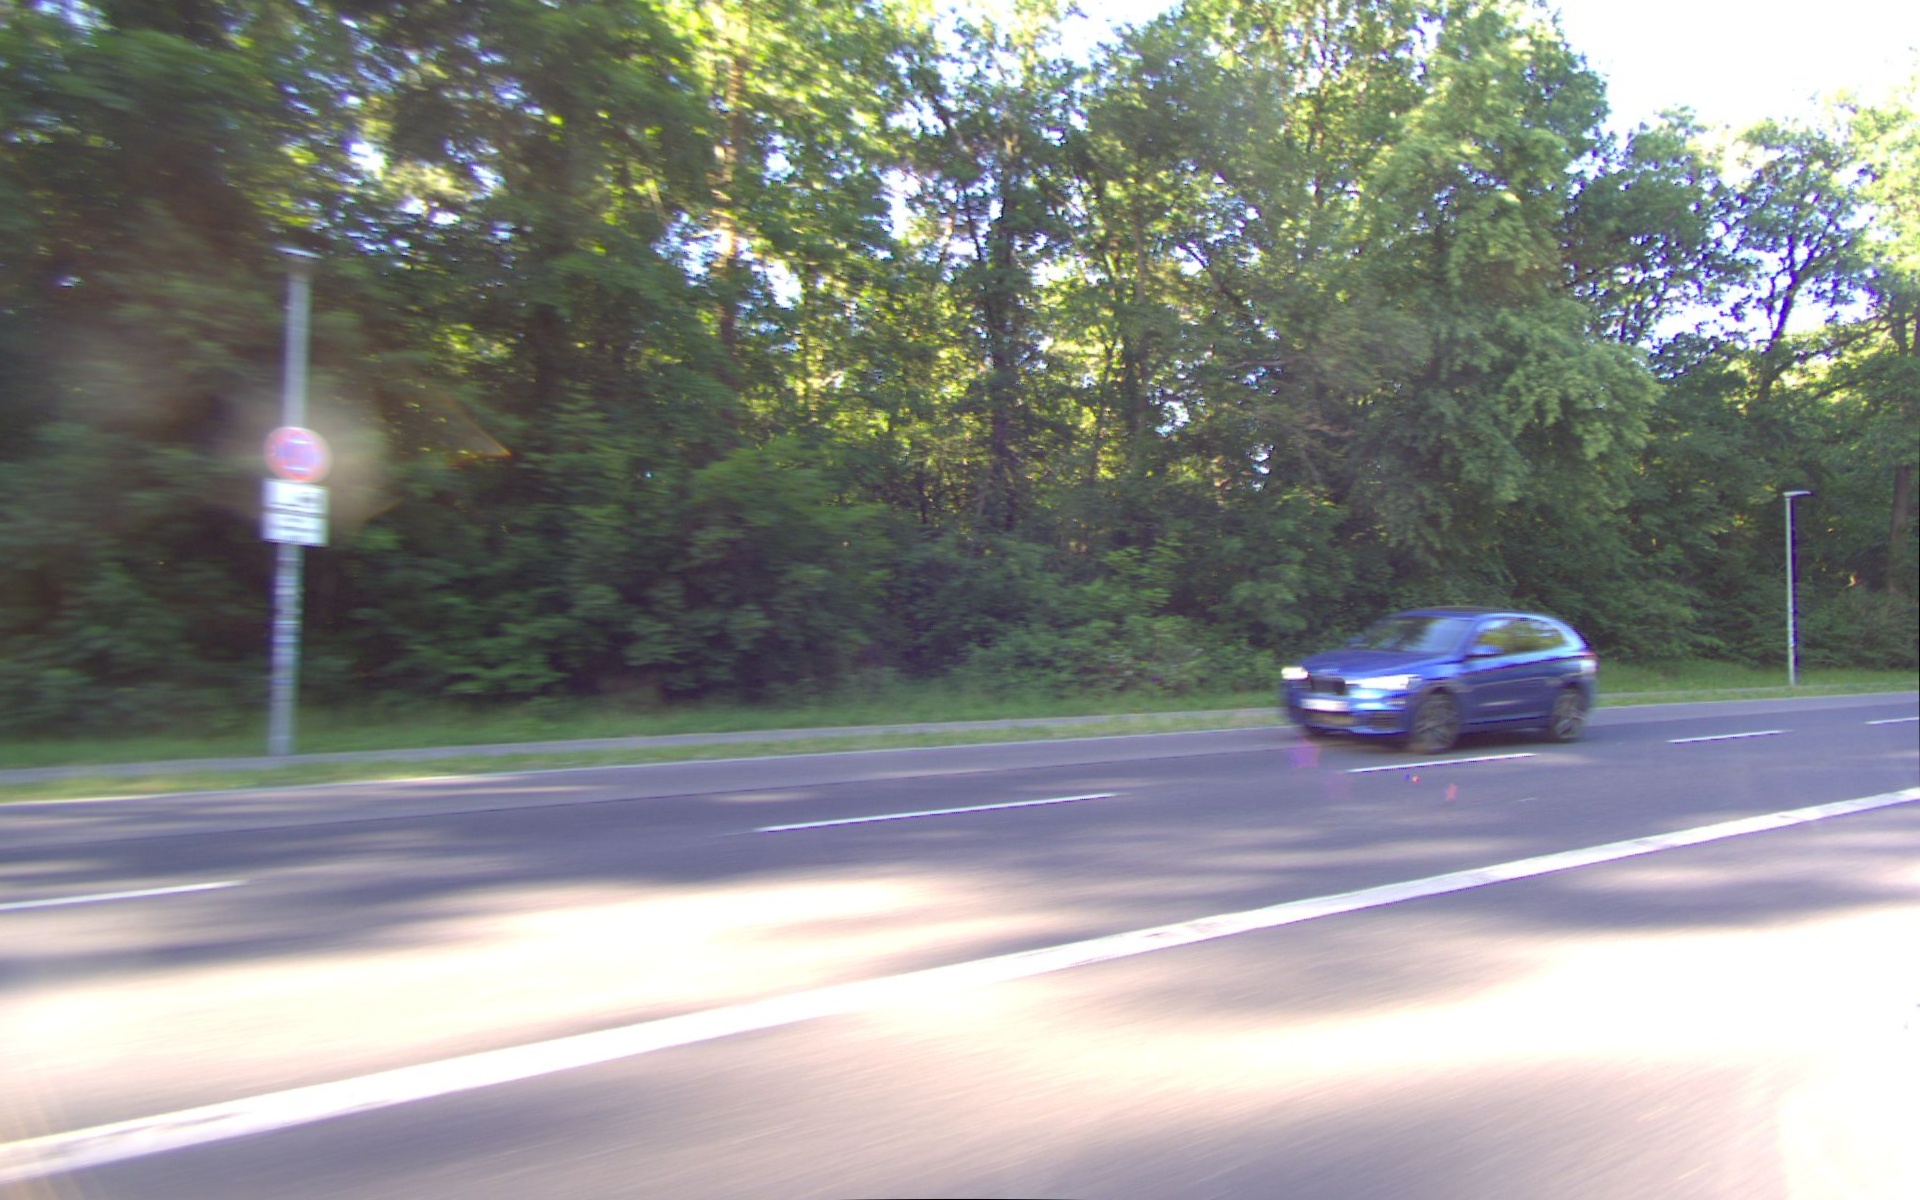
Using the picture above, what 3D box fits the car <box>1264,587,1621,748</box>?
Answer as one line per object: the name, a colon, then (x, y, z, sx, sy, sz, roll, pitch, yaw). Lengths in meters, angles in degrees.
car: (6.054, 0.756, 12.480, 4.468, 1.685, 1.799, 1, -1, -30)
